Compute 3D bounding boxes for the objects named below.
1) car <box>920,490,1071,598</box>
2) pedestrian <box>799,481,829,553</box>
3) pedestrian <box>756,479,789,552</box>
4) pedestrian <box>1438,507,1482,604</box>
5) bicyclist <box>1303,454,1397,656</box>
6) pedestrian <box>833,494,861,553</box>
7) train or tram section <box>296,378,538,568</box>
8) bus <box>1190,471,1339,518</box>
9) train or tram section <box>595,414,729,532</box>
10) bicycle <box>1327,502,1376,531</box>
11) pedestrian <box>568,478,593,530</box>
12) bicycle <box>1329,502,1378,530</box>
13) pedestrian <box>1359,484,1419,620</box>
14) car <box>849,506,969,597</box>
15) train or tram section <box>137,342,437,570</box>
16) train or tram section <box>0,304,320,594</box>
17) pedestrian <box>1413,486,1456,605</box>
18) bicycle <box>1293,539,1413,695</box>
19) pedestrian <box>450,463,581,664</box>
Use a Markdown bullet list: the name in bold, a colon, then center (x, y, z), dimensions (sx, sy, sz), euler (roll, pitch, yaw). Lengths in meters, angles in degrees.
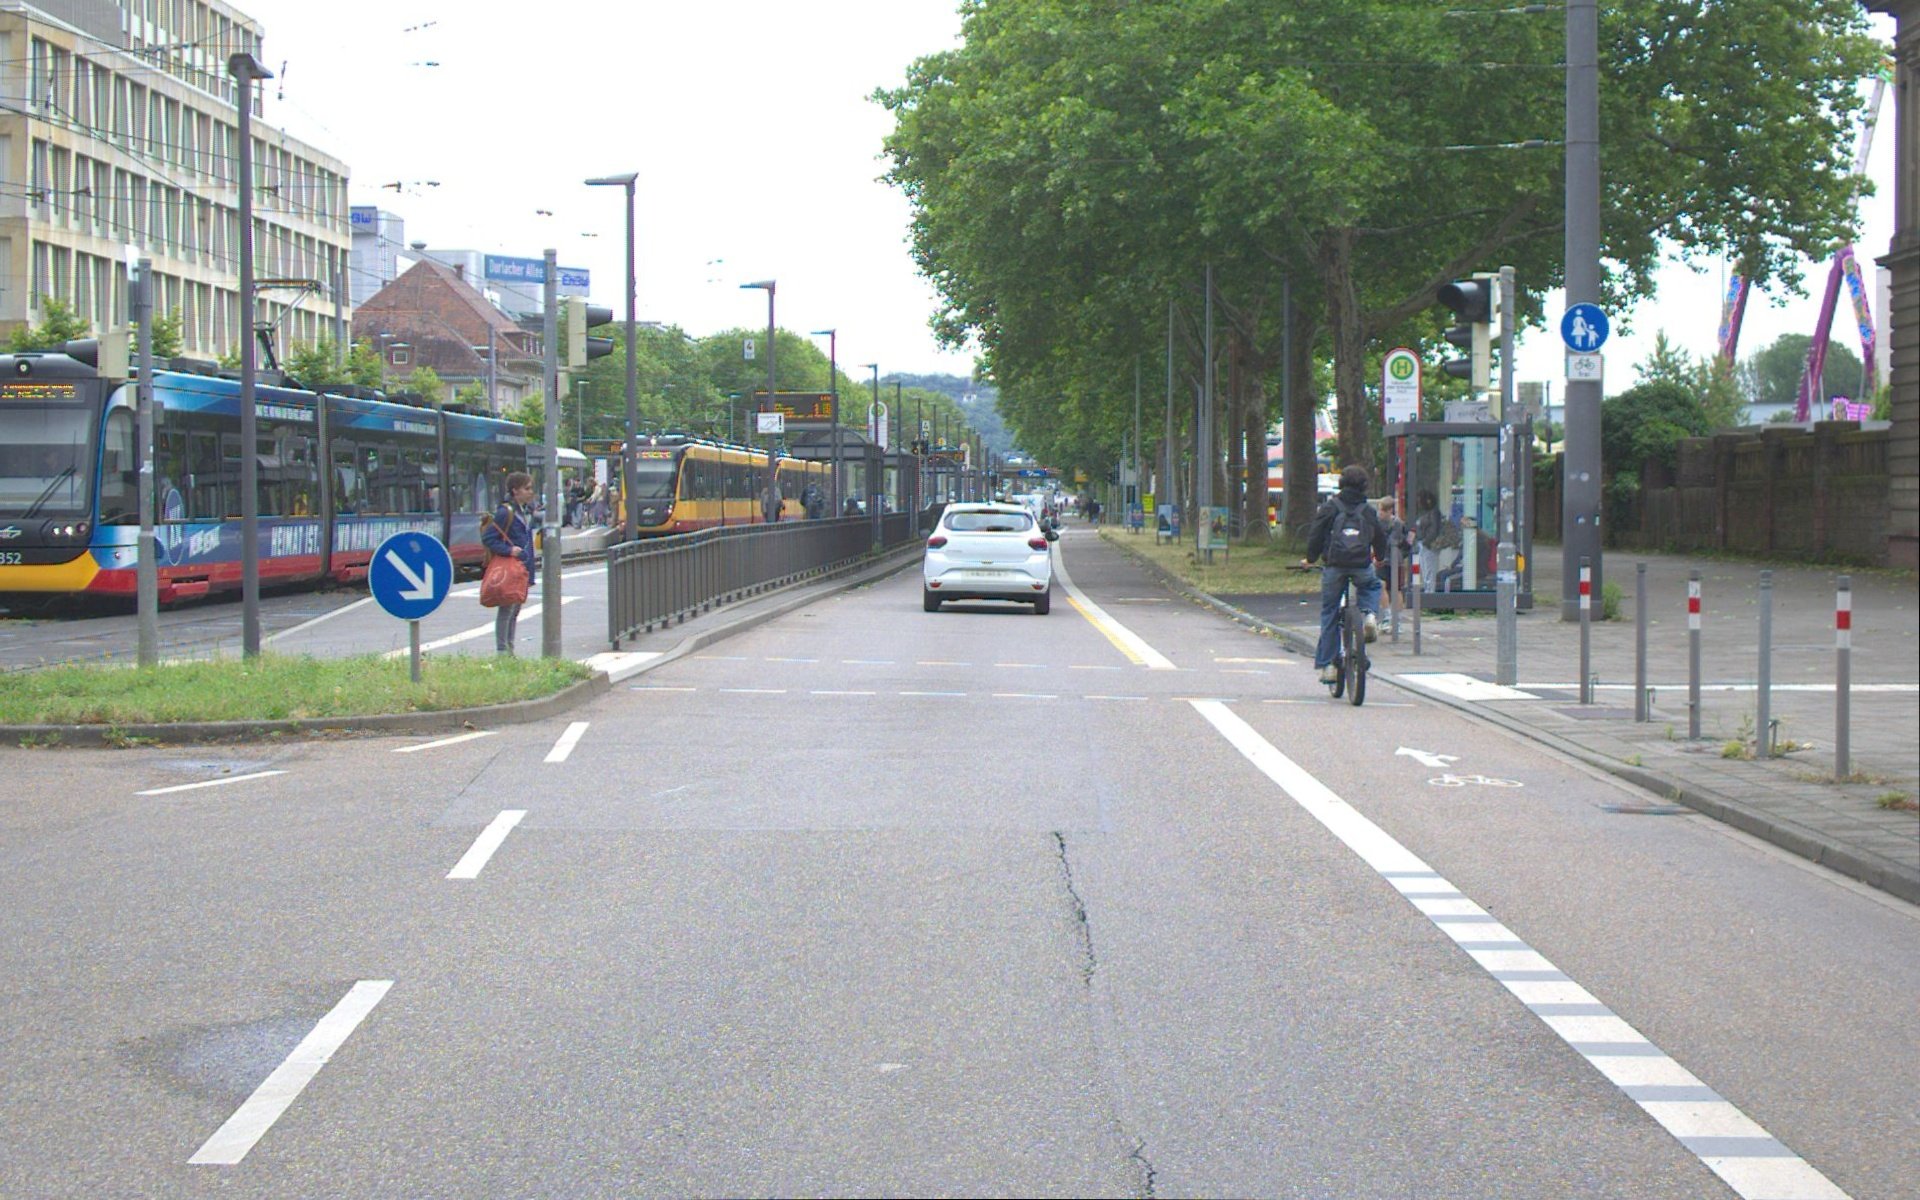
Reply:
- **car**: center (0.534, -0.781, 48.109), dimensions (1.885, 1.448, 4.000), euler (0, 1, 4)
- **pedestrian**: center (-3.653, -2.082, 86.026), dimensions (0.670, 1.787, 1.113), euler (0, 1, -7)
- **pedestrian**: center (-4.645, -2.098, 85.280), dimensions (0.670, 1.787, 1.113), euler (0, 1, -11)
- **pedestrian**: center (6.422, -0.574, 44.202), dimensions (0.476, 1.230, 0.702), euler (0, 1, 1)
- **bicyclist**: center (2.981, -0.347, 26.323), dimensions (0.641, 1.525, 0.665), euler (0, 1, 0)
- **pedestrian**: center (-2.583, -1.749, 78.780), dimensions (0.610, 1.336, 0.600), euler (0, 1, 2)
- **train or tram section**: center (-11.335, -2.575, 73.248), dimensions (2.854, 3.679, 13.521), euler (0, 1, 1)
- **bus**: center (19.255, -6.668, 217.580), dimensions (9.277, 2.949, 2.000), euler (0, 1, 0)
- **train or tram section**: center (-10.155, -4.272, 118.304), dimensions (3.237, 3.848, 11.311), euler (0, 1, 2)
- **bicycle**: center (15.924, -3.399, 139.924), dimensions (1.890, 1.101, 0.550), euler (-2, 1, 0)
- **pedestrian**: center (-13.074, -3.298, 118.484), dimensions (0.711, 1.789, 1.160), euler (0, 1, 1)
- **bicycle**: center (16.084, -3.431, 140.645), dimensions (1.900, 1.093, 0.550), euler (-2, 1, 0)
- **pedestrian**: center (4.867, -0.548, 39.007), dimensions (0.552, 1.523, 0.638), euler (0, 1, 19)
- **car**: center (-0.873, -0.889, 61.020), dimensions (1.841, 1.546, 4.000), euler (1, 1, 3)
- **train or tram section**: center (-11.618, -2.388, 60.653), dimensions (2.854, 3.628, 11.700), euler (0, 1, 1)
- **train or tram section**: center (-11.723, -1.994, 48.987), dimensions (2.854, 3.628, 11.766), euler (0, 1, 1)
- **pedestrian**: center (6.274, -0.719, 45.448), dimensions (0.476, 1.558, 0.702), euler (0, 1, 1)
- **bicycle**: center (2.984, 0.105, 26.274), dimensions (0.652, 1.146, 2.283), euler (0, 1, 0)
- **pedestrian**: center (-3.701, -0.308, 28.614), dimensions (0.858, 1.637, 0.653), euler (-1, 1, -40)
